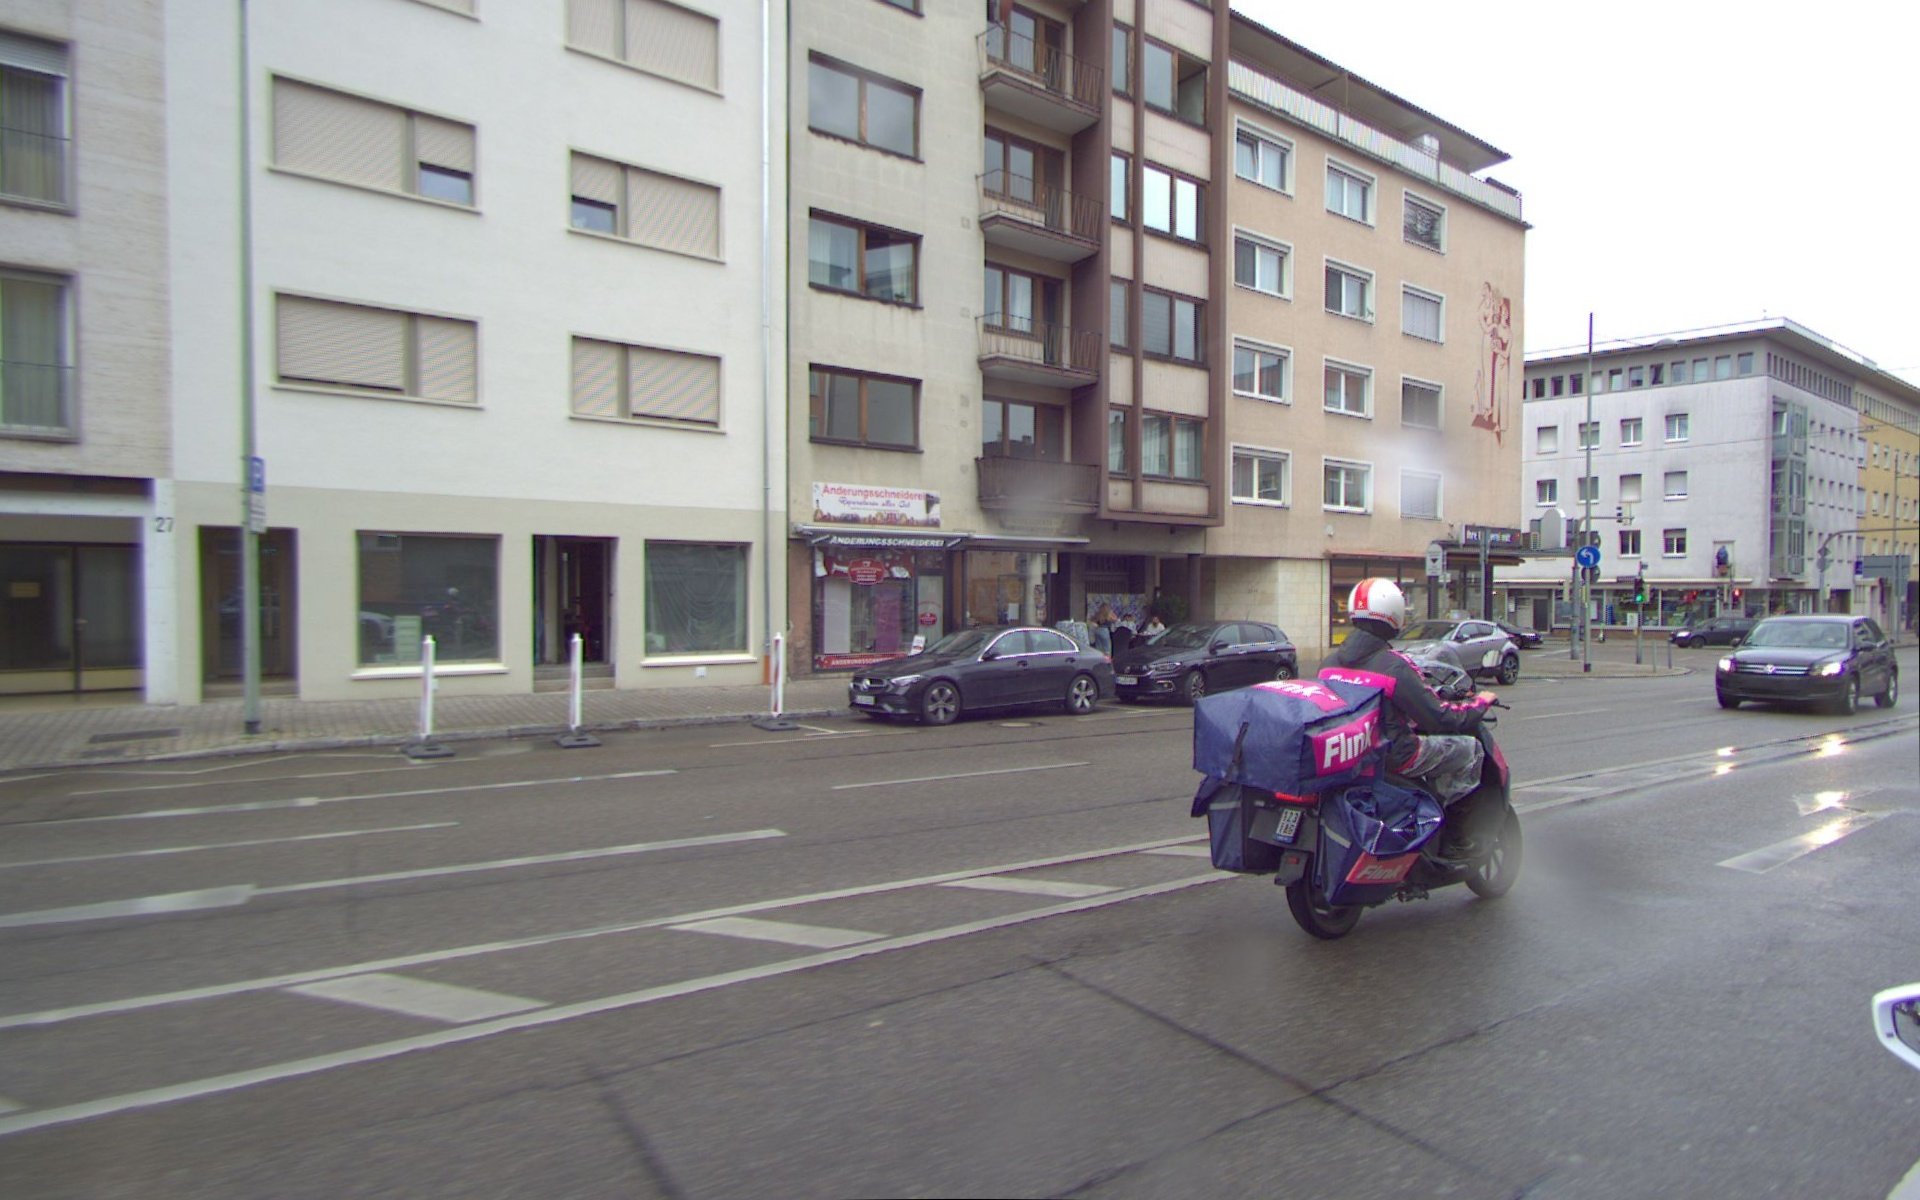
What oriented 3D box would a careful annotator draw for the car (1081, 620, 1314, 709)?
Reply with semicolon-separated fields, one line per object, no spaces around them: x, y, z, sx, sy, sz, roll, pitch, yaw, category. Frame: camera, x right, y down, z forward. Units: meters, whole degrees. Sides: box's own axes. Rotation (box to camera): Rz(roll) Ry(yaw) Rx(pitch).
4.599;1.134;19.148;4.478;1.496;1.978;1;-1;-38;car

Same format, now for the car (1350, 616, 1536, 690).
11.360;1.184;23.551;4.582;1.575;1.896;1;-1;-34;car

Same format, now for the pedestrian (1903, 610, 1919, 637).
57.972;1.409;61.139;0.645;1.603;0.682;0;3;-35;pedestrian

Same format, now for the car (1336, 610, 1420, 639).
25.103;1.441;60.393;4.277;1.653;2.035;0;0;42;car

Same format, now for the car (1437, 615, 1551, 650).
24.747;1.475;46.609;2.032;1.395;4.284;-2;2;-43;car

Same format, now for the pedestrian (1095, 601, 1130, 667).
3.764;0.830;24.787;0.536;1.604;0.666;1;1;41;pedestrian

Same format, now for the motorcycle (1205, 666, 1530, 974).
2.116;0.964;5.037;2.084;1.207;0.582;2;-1;-39;motorcycle

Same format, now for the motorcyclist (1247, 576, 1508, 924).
2.065;0.661;4.996;0.857;1.513;0.907;1;-1;-39;motorcyclist

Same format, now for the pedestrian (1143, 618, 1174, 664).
5.172;1.064;26.171;0.584;1.163;0.673;1;0;-7;pedestrian

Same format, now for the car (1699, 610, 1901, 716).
14.897;1.030;17.755;4.214;1.669;1.849;1;-1;-37;car

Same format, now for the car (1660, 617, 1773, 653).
35.432;1.610;47.120;3.919;1.648;1.699;0;-1;8;car

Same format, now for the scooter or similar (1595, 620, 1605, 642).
33.910;1.634;53.232;0.359;1.110;1.133;-1;2;30;scooter or similar

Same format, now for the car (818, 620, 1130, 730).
0.347;1.078;16.030;4.934;1.496;1.868;1;-2;-38;car

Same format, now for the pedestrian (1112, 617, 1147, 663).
4.424;1.029;26.215;0.626;1.163;0.604;1;0;-35;pedestrian
